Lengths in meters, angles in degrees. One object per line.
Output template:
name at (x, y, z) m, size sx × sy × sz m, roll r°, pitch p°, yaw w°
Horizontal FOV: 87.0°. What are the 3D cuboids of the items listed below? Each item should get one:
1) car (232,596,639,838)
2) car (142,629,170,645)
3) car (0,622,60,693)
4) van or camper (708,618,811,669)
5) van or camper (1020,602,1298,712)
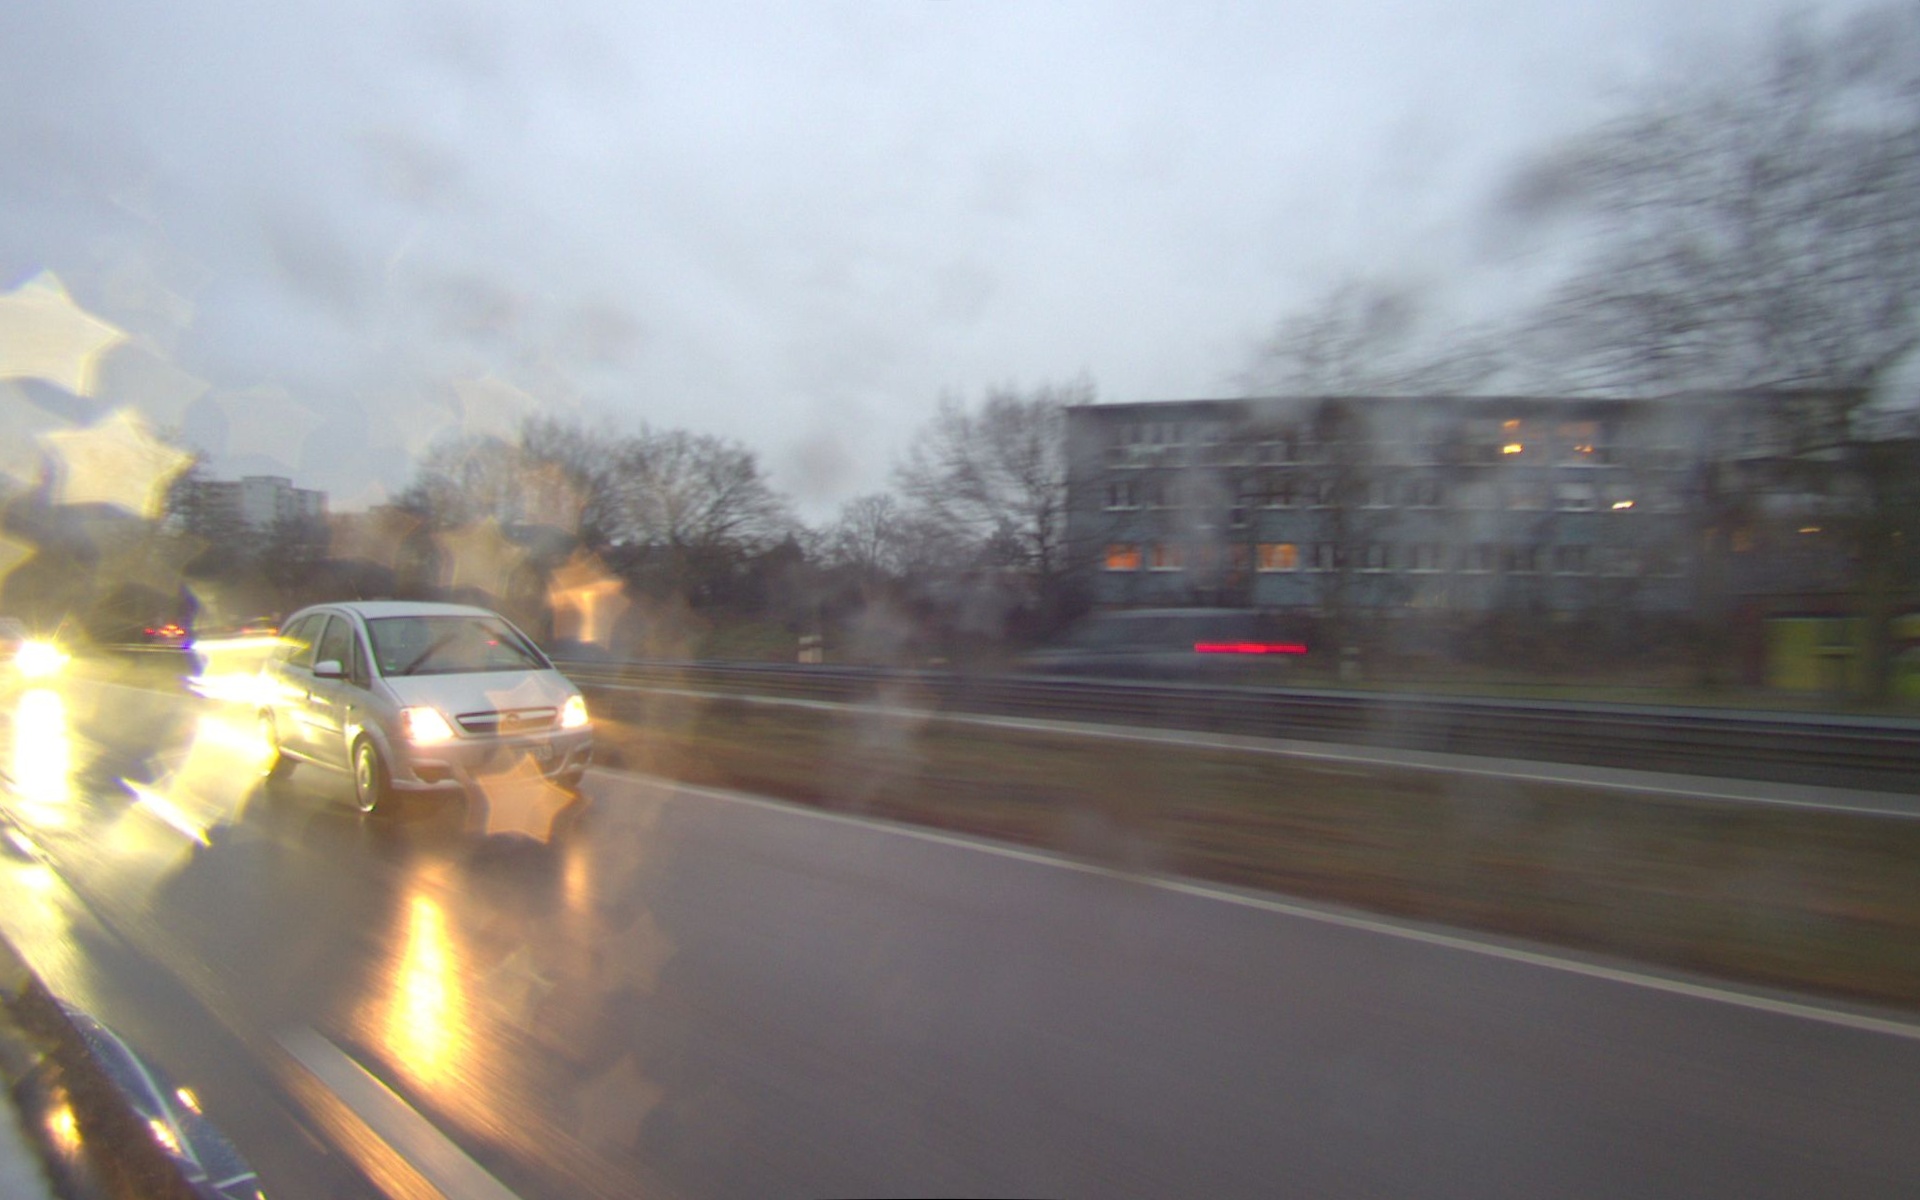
car at (-4.700, 0.814, 8.803) m, size 4.163 × 1.611 × 1.743 m, roll -1°, pitch -1°, yaw 41°
car at (-83.297, 3.790, 104.865) m, size 4.597 × 1.577 × 1.631 m, roll -1°, pitch -1°, yaw 43°
car at (-22.815, 1.307, 23.705) m, size 4.142 × 1.542 × 2.001 m, roll -1°, pitch -1°, yaw 40°
van or camper at (-7.544, 1.572, 37.880) m, size 4.208 × 1.797 × 1.631 m, roll -1°, pitch -1°, yaw 43°
van or camper at (3.475, 0.960, 18.513) m, size 1.740 × 1.749 × 4.887 m, roll 1°, pitch -2°, yaw -43°
